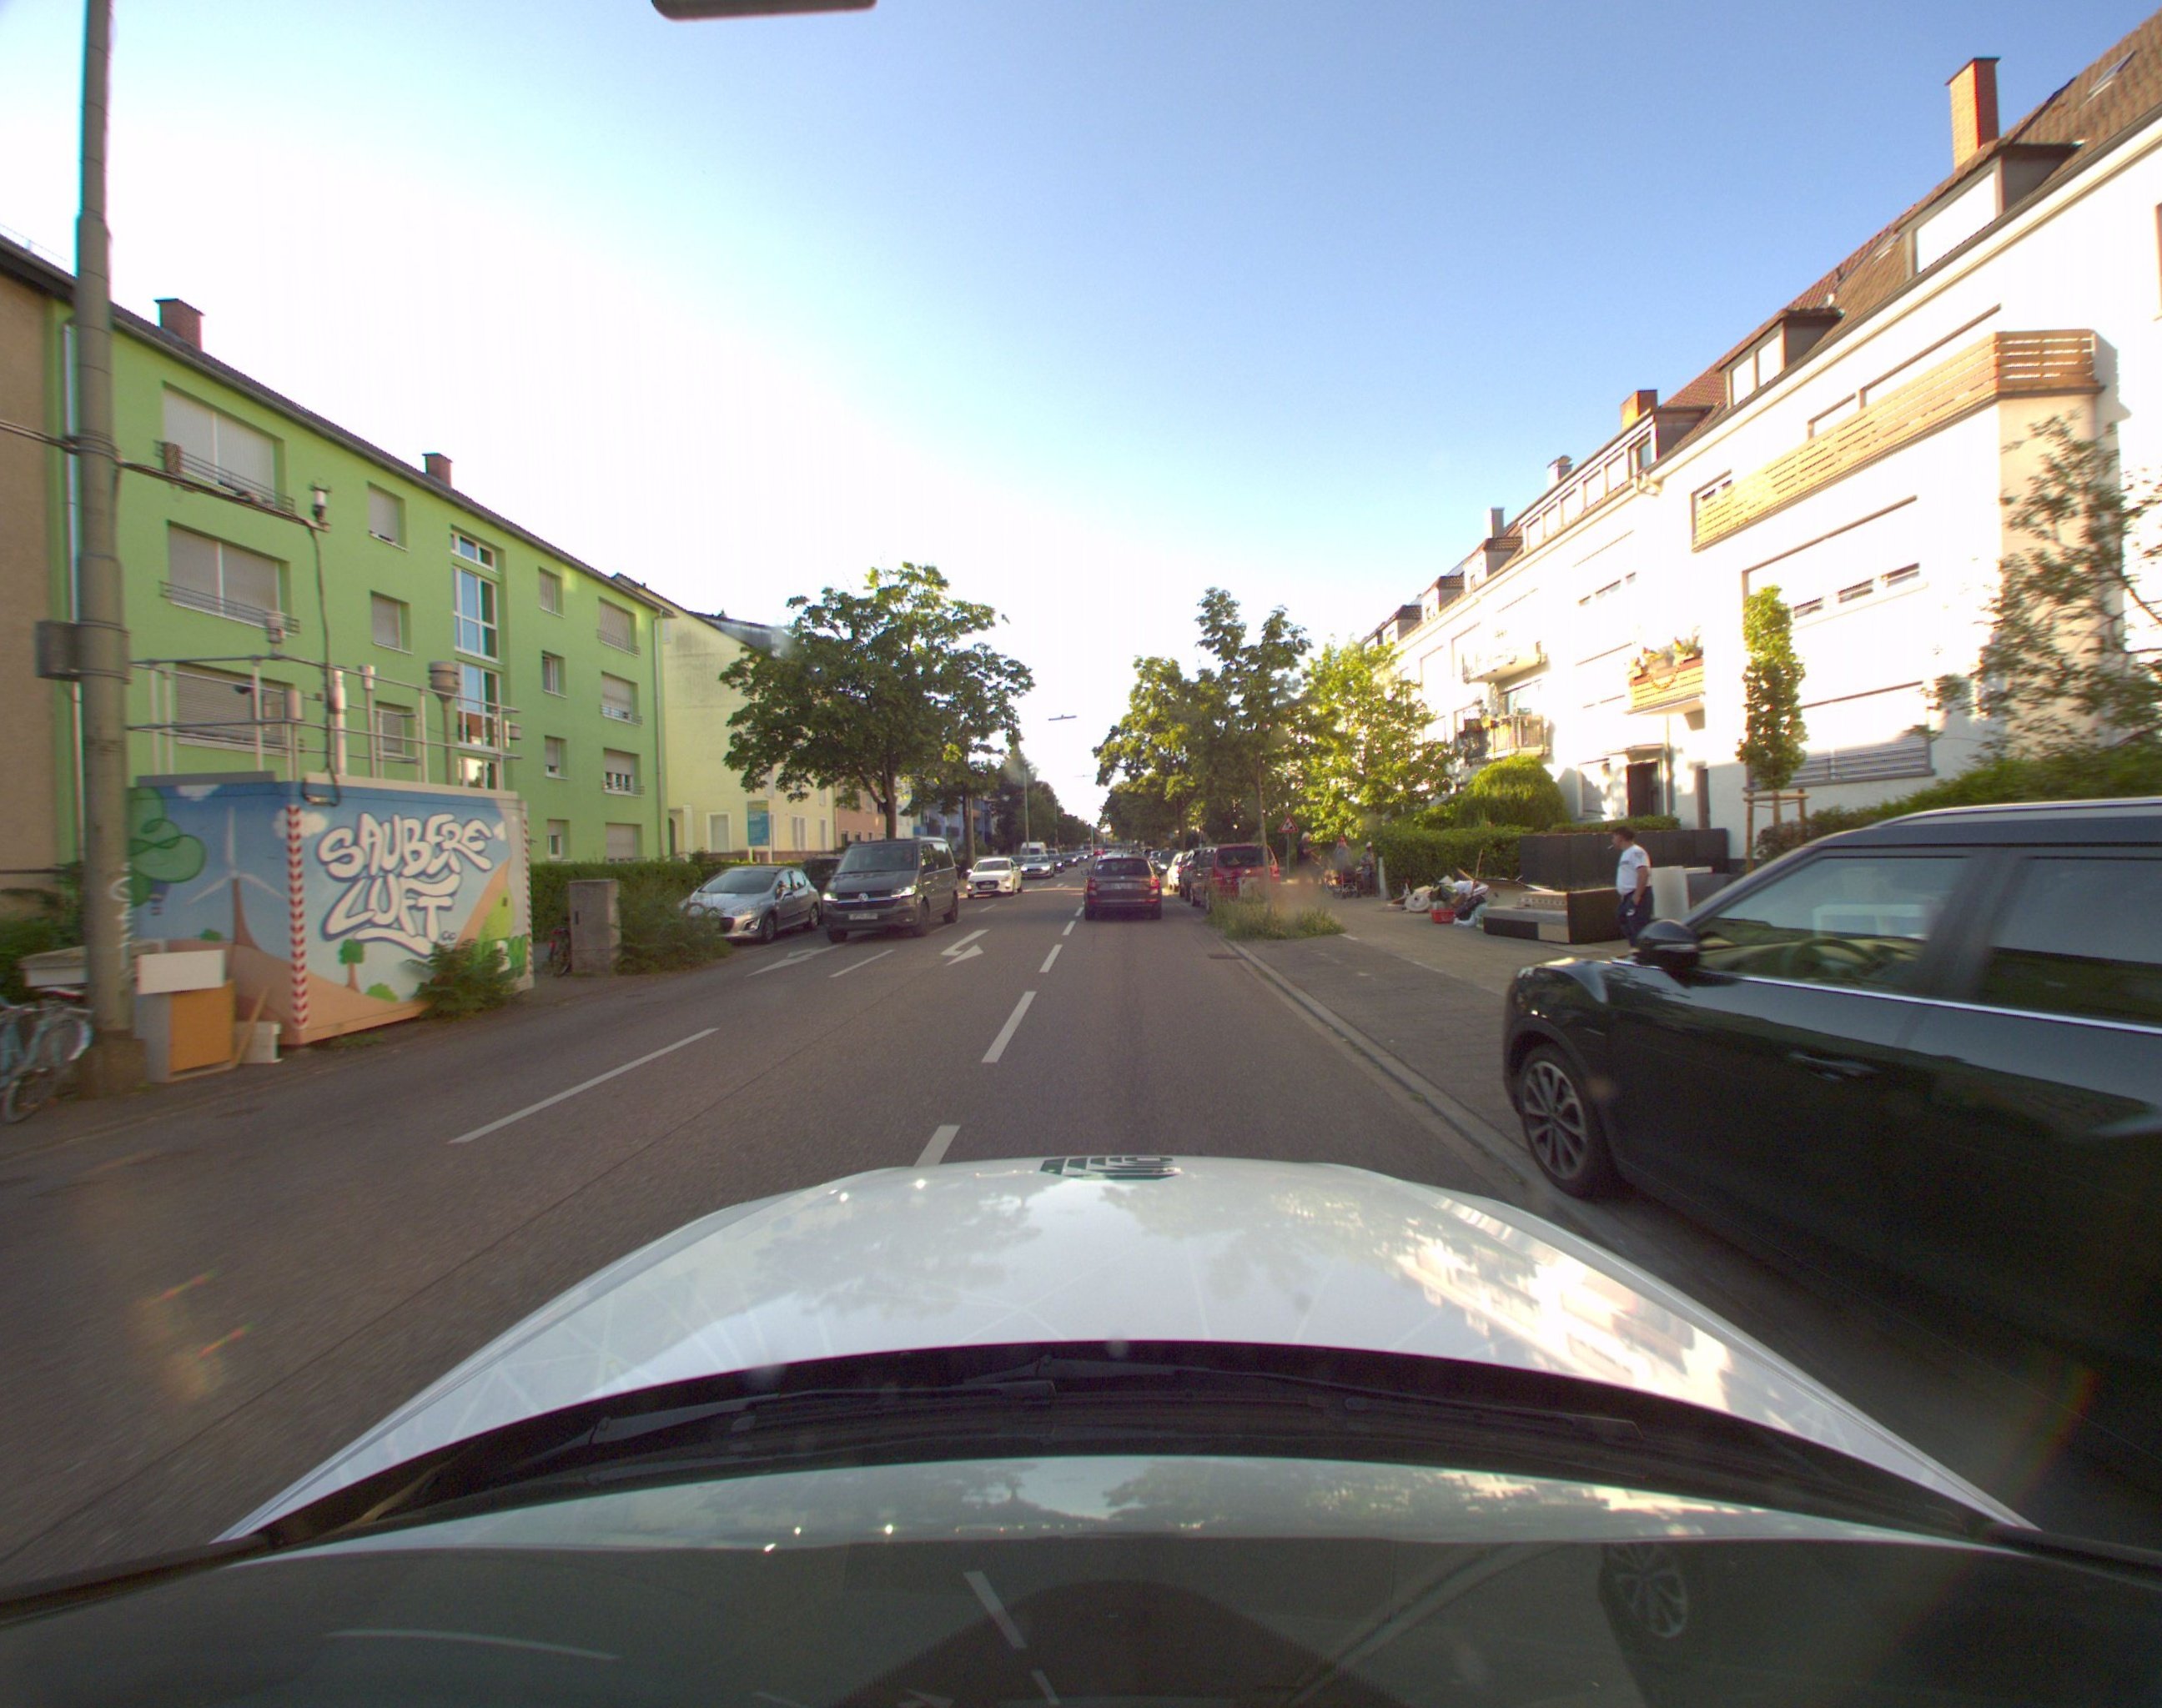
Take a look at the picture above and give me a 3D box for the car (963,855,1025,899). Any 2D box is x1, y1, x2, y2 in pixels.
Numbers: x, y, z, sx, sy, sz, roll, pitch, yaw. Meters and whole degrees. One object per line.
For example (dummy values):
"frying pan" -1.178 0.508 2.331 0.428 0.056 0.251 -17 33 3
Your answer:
"car" -3.336 0.852 32.049 1.809 1.446 4.111 -4 0 1

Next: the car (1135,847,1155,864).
"car" 6.837 0.120 87.280 1.794 1.808 4.423 0 0 0

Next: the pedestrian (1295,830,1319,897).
"pedestrian" 6.412 0.263 23.142 0.545 1.849 0.766 -2 0 9

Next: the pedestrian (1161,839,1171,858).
"pedestrian" 7.566 -0.505 72.412 0.784 1.700 0.809 -1 -1 6

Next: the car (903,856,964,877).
"car" -10.573 0.883 58.684 3.971 1.413 1.917 0 0 2

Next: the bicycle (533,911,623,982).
"bicycle" -7.274 1.310 11.839 0.370 0.861 1.543 0 0 -1

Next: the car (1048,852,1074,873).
"car" -1.522 0.623 62.600 1.693 1.403 4.029 -4 0 2

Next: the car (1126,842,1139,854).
"car" 8.080 -0.911 126.683 1.908 1.860 5.639 -2 0 4

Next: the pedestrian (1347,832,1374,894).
"pedestrian" 7.782 0.239 22.692 0.509 1.697 0.527 -2 0 -3

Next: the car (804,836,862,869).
"car" -13.484 -0.084 44.557 1.820 1.683 4.001 -1 0 2

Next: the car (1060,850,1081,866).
"car" -1.018 0.412 83.837 1.692 1.470 4.300 -3 0 5

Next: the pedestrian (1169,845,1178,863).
"pedestrian" 10.119 -0.028 88.910 0.793 1.861 0.954 -3 0 13

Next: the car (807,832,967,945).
"car" -3.890 0.635 17.330 1.986 1.946 4.780 -4 0 2

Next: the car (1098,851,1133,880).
"car" 1.928 0.647 46.379 1.885 1.506 3.791 2 -1 2

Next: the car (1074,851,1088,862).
"car" -0.011 0.378 117.616 1.874 1.543 4.265 -2 0 -1

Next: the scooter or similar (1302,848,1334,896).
"scooter or similar" 6.720 0.491 23.098 0.742 1.317 0.723 -2 0 9

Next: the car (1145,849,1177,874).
"car" 5.222 0.475 53.560 1.712 1.494 4.395 -2 0 1

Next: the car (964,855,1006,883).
"car" -5.661 0.860 48.383 1.772 1.505 4.591 -1 0 2

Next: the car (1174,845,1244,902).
"car" 3.923 0.545 25.503 1.630 1.568 4.002 -3 0 2

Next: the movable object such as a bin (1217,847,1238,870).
"movable object such as a bin" 10.225 0.281 56.841 1.258 1.492 1.143 -4 0 12

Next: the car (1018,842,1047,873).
"car" -4.338 0.273 74.161 1.986 2.616 7.108 -1 0 2

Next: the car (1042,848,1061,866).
"car" -3.528 0.364 97.313 1.862 2.031 5.303 -1 0 2

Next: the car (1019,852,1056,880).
"car" -2.642 0.703 50.428 1.825 1.470 4.453 -5 0 2

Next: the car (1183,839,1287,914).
"car" 3.769 0.504 20.692 1.716 1.655 4.596 -1 0 -1

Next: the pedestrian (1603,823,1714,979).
"pedestrian" 6.120 0.476 8.652 0.557 1.568 0.744 -2 0 -16

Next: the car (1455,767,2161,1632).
"car" 2.910 0.600 2.375 1.785 1.632 4.030 -4 0 1

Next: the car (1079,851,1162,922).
"car" 0.976 0.686 19.252 1.746 1.492 4.004 0 0 4

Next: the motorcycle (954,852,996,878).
"motorcycle" -5.738 0.601 44.166 2.034 1.389 0.981 1 -1 -30

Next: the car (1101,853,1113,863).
"car" 4.159 0.611 131.391 1.776 1.480 3.969 0 0 -1

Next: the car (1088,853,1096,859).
"car" 2.767 0.461 199.816 1.774 1.494 3.974 0 0 3

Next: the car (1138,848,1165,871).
"car" 5.241 0.390 60.870 1.712 1.601 4.098 -2 0 2

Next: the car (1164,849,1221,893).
"car" 4.184 0.593 31.153 1.630 1.490 4.417 -3 0 2

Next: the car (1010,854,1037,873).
"car" -4.759 0.788 67.865 1.700 1.492 4.061 1 0 2

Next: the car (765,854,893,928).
"car" -6.695 0.897 22.195 1.776 1.732 4.620 -2 0 3

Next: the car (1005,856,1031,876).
"car" -4.836 0.870 63.034 1.606 1.473 3.814 0 0 2

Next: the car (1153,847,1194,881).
"car" 4.830 0.476 43.108 1.866 1.581 4.825 -3 0 4

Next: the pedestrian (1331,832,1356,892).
"pedestrian" 7.567 0.228 23.492 0.509 1.697 0.527 -2 0 -3

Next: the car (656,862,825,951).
"car" -6.906 0.990 17.045 1.677 1.521 4.191 -2 0 1

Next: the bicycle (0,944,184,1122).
"bicycle" -7.545 1.208 5.676 1.997 1.089 0.584 0 0 3

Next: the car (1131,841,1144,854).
"car" 7.640 -0.887 110.095 1.746 1.686 4.257 0 0 4

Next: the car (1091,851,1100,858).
"car" 3.851 0.234 219.794 1.989 1.750 3.996 -2 0 -3
